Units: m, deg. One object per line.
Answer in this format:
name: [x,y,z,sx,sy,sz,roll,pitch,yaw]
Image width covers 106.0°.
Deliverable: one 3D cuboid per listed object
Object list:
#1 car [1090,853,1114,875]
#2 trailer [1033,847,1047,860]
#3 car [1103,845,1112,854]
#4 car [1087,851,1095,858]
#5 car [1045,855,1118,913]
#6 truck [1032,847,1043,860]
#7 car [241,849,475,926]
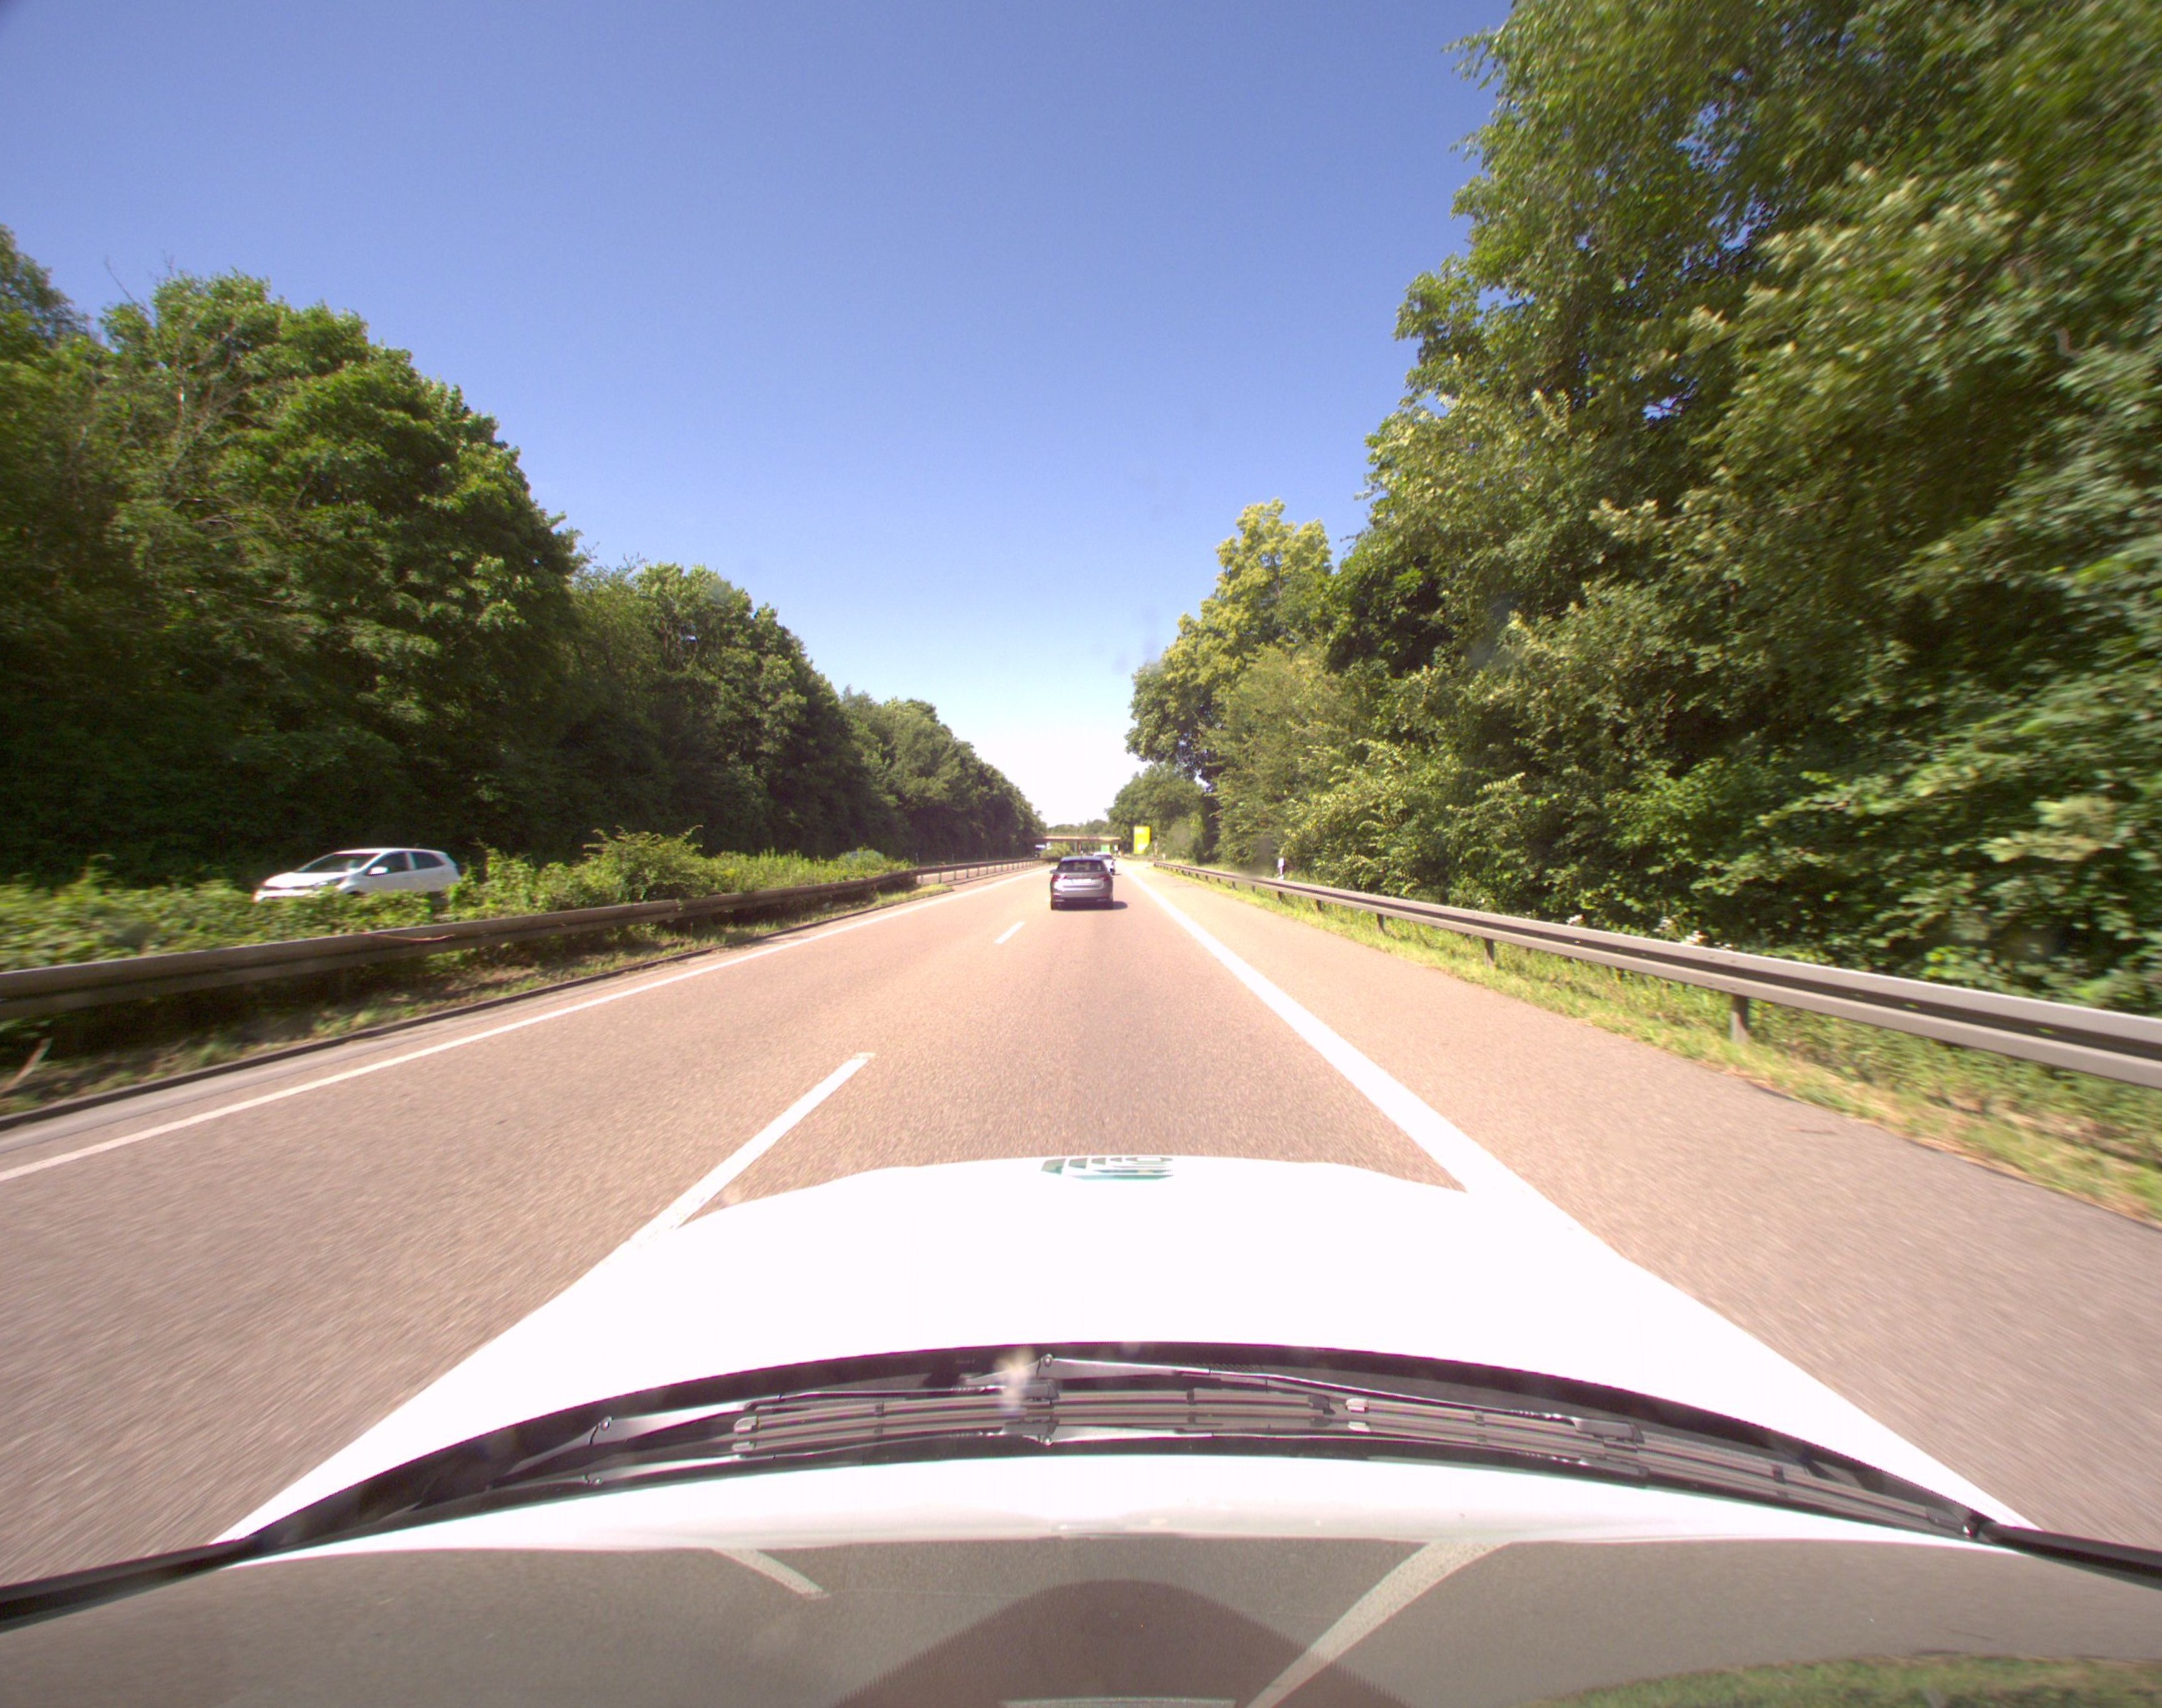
car: [1.461,0.642,56.065,1.516,1.446,3.343,0,0,3]
trailer: [-10.534,-0.148,209.591,2.483,3.235,14.438,0,0,2]
car: [7.868,-1.347,242.004,2.738,2.654,4.002,0,0,2]
car: [2.852,0.202,227.503,1.986,2.014,4.002,0,0,2]
car: [0.095,0.775,22.853,1.832,1.472,3.627,0,0,3]
truck: [-10.886,-0.193,202.523,2.416,3.258,4.002,0,0,2]
car: [-15.352,0.654,17.581,1.665,1.473,3.626,0,0,3]
